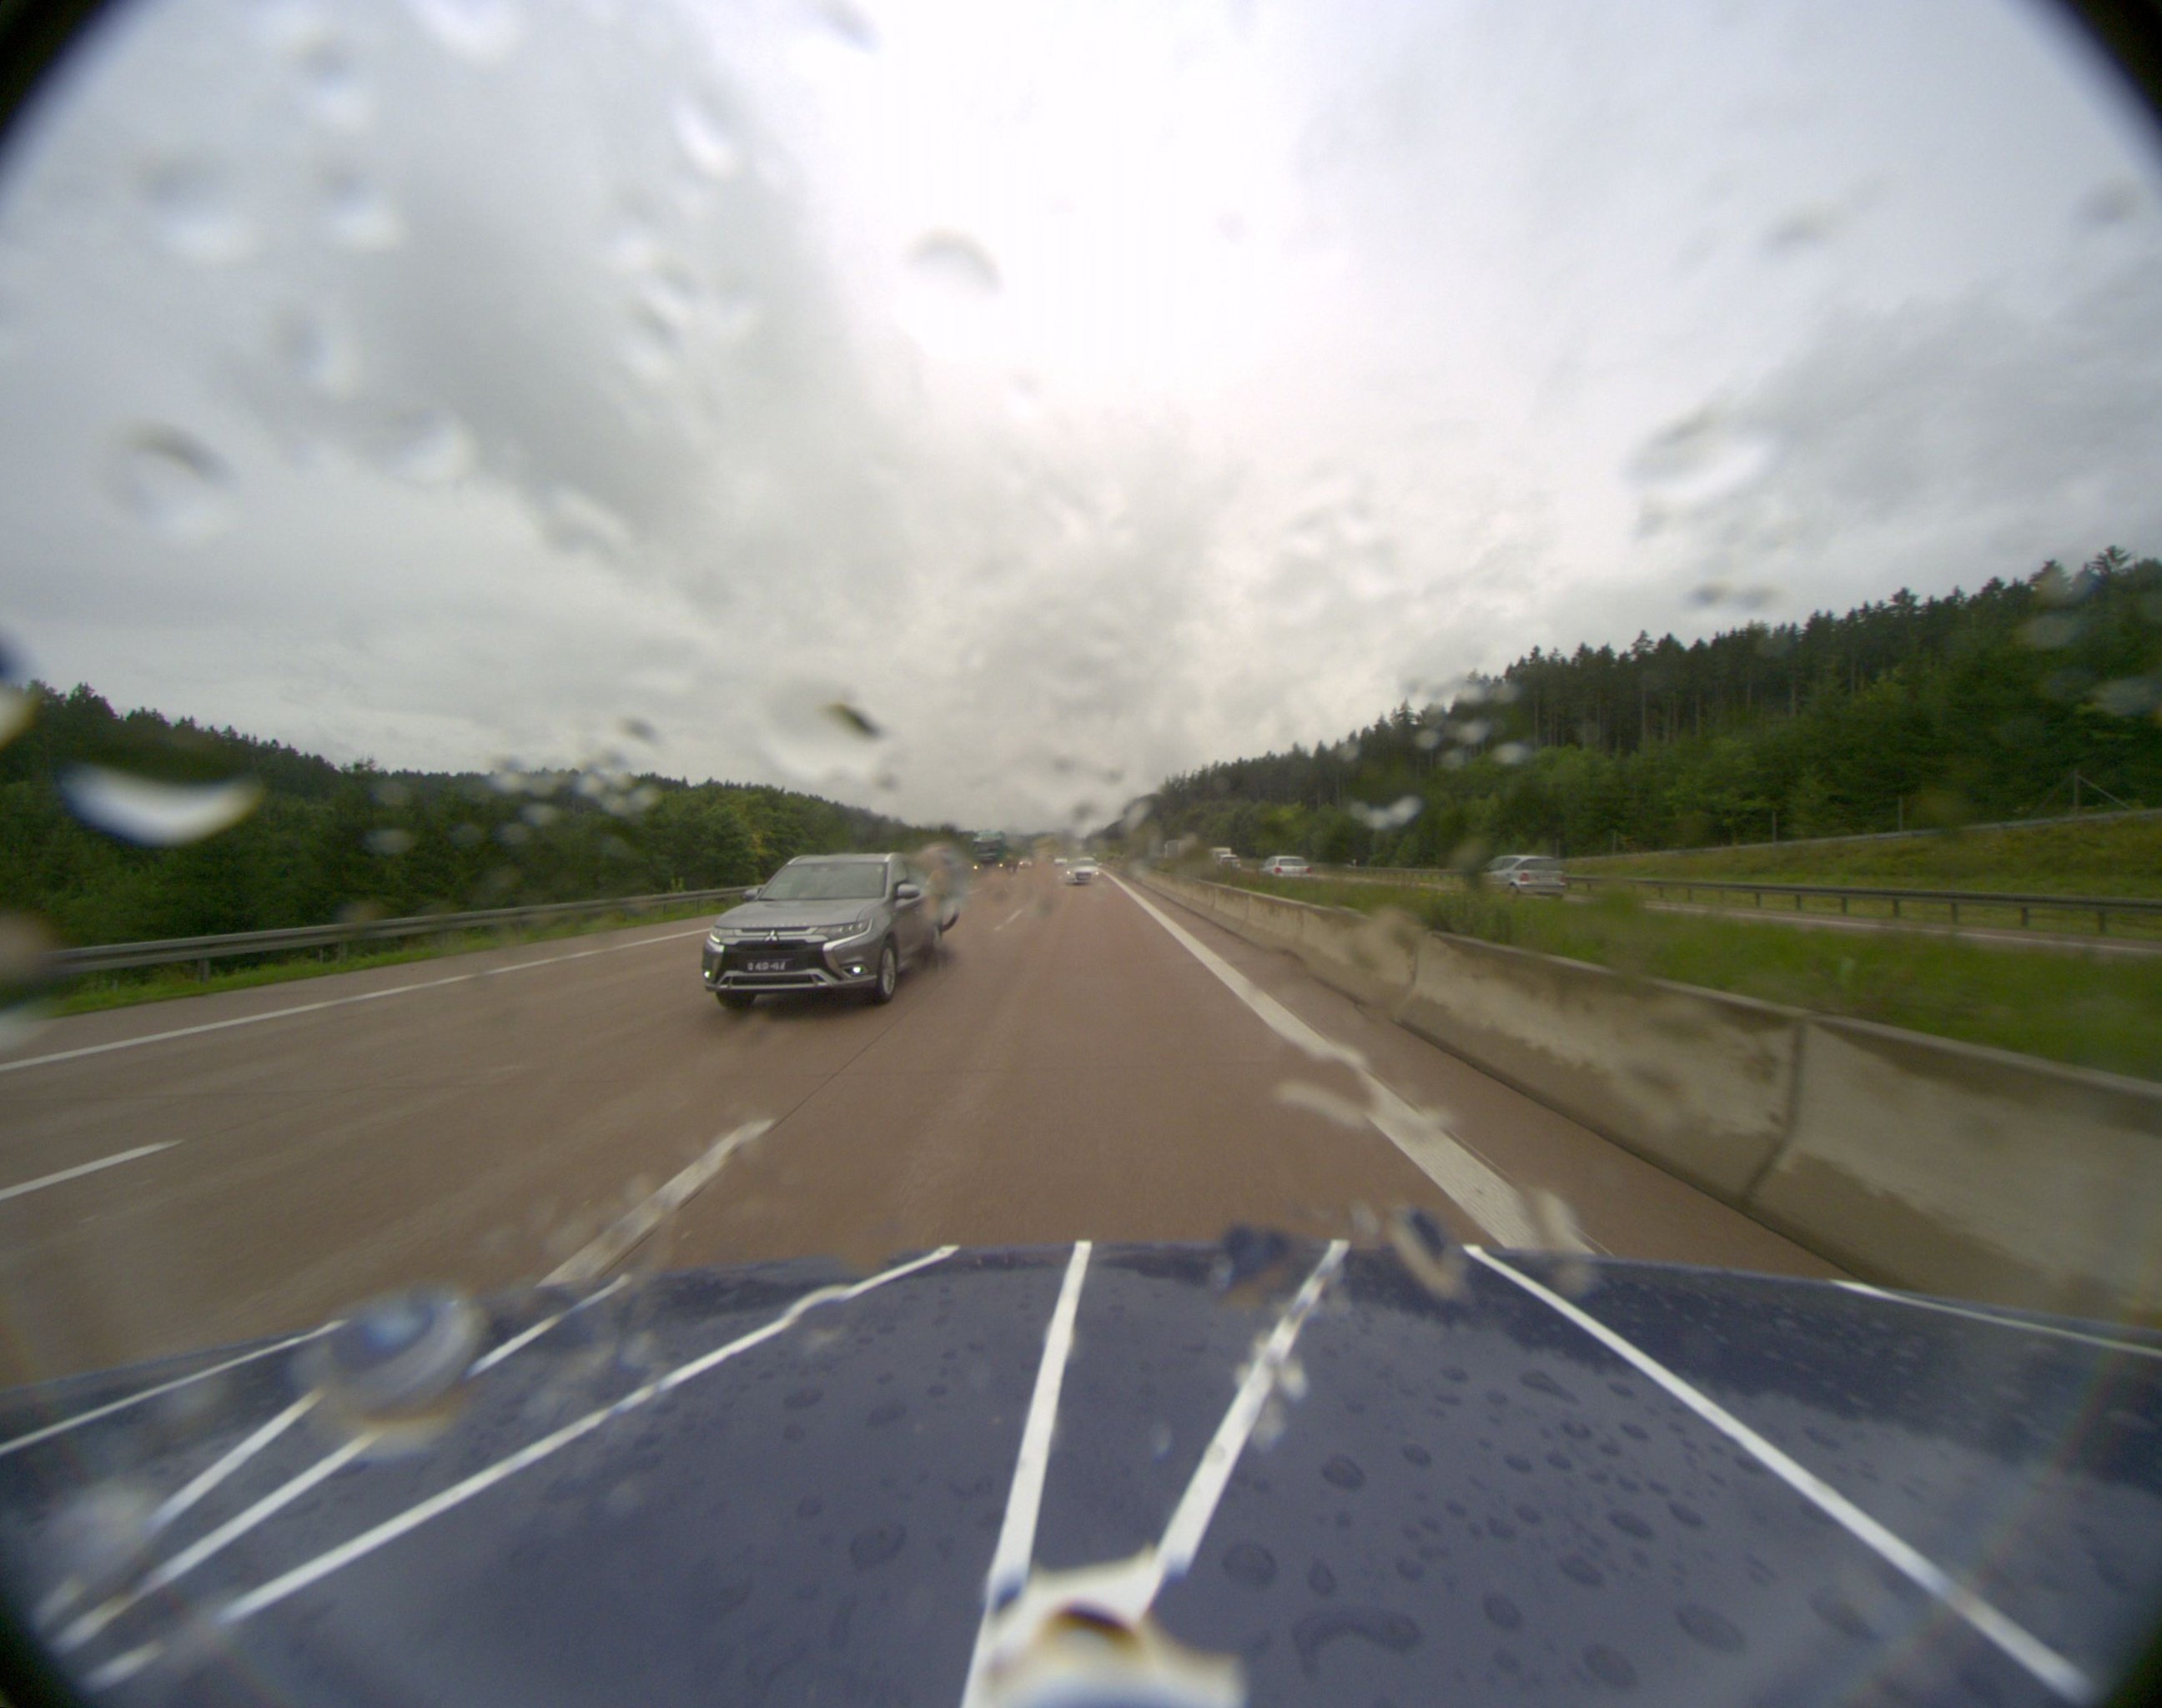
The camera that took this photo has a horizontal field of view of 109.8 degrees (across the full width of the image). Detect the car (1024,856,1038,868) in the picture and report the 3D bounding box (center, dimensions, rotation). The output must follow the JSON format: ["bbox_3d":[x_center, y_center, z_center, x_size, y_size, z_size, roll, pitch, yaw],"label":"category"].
[{"bbox_3d":[-7.088,1.089,108.011,1.702,1.602,4.974,-2,1,-3],"label":"car"}]

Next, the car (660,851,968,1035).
[{"bbox_3d":[-3.001,0.852,10.236,1.998,1.583,5.818,-2,1,0],"label":"car"}]

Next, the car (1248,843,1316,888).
[{"bbox_3d":[8.834,0.446,33.762,1.707,1.775,4.412,-3,1,-1],"label":"car"}]

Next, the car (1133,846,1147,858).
[{"bbox_3d":[8.605,-0.360,111.727,1.674,1.656,4.476,-2,1,0],"label":"car"}]

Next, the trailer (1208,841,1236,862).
[{"bbox_3d":[16.666,-0.255,90.366,2.282,2.397,5.437,1,0,0],"label":"trailer"}]

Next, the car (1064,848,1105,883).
[{"bbox_3d":[0.123,0.589,41.767,1.999,1.623,4.929,-3,1,-2],"label":"car"}]

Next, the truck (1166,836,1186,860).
[{"bbox_3d":[16.433,-1.118,132.071,2.776,4.152,5.999,0,2,0],"label":"truck"}]

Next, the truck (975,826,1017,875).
[{"bbox_3d":[-7.337,-0.351,66.296,2.905,3.942,6.985,-3,2,-2],"label":"truck"}]

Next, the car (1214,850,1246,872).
[{"bbox_3d":[12.845,0.550,65.654,1.869,1.656,4.708,-2,1,2],"label":"car"}]

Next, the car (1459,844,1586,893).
[{"bbox_3d":[15.771,0.455,27.487,1.998,1.566,4.523,-1,1,1],"label":"car"}]

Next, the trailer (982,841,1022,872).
[{"bbox_3d":[-7.550,0.135,74.231,2.889,2.660,11.394,-3,1,-2],"label":"trailer"}]

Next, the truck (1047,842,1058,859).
[{"bbox_3d":[-7.288,-0.927,196.274,2.610,4.190,6.247,-3,2,-2],"label":"truck"}]

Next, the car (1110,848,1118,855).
[{"bbox_3d":[10.764,-0.794,246.753,2.286,1.851,5.726,-2,1,0],"label":"car"}]

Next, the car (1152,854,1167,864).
[{"bbox_3d":[12.611,0.744,122.232,1.696,1.548,5.676,0,0,0],"label":"car"}]

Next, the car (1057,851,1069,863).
[{"bbox_3d":[-2.995,0.484,126.584,1.999,1.623,4.929,-3,1,-2],"label":"car"}]

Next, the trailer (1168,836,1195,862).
[{"bbox_3d":[16.435,-0.894,124.830,2.746,4.116,12.752,0,1,0],"label":"trailer"}]
